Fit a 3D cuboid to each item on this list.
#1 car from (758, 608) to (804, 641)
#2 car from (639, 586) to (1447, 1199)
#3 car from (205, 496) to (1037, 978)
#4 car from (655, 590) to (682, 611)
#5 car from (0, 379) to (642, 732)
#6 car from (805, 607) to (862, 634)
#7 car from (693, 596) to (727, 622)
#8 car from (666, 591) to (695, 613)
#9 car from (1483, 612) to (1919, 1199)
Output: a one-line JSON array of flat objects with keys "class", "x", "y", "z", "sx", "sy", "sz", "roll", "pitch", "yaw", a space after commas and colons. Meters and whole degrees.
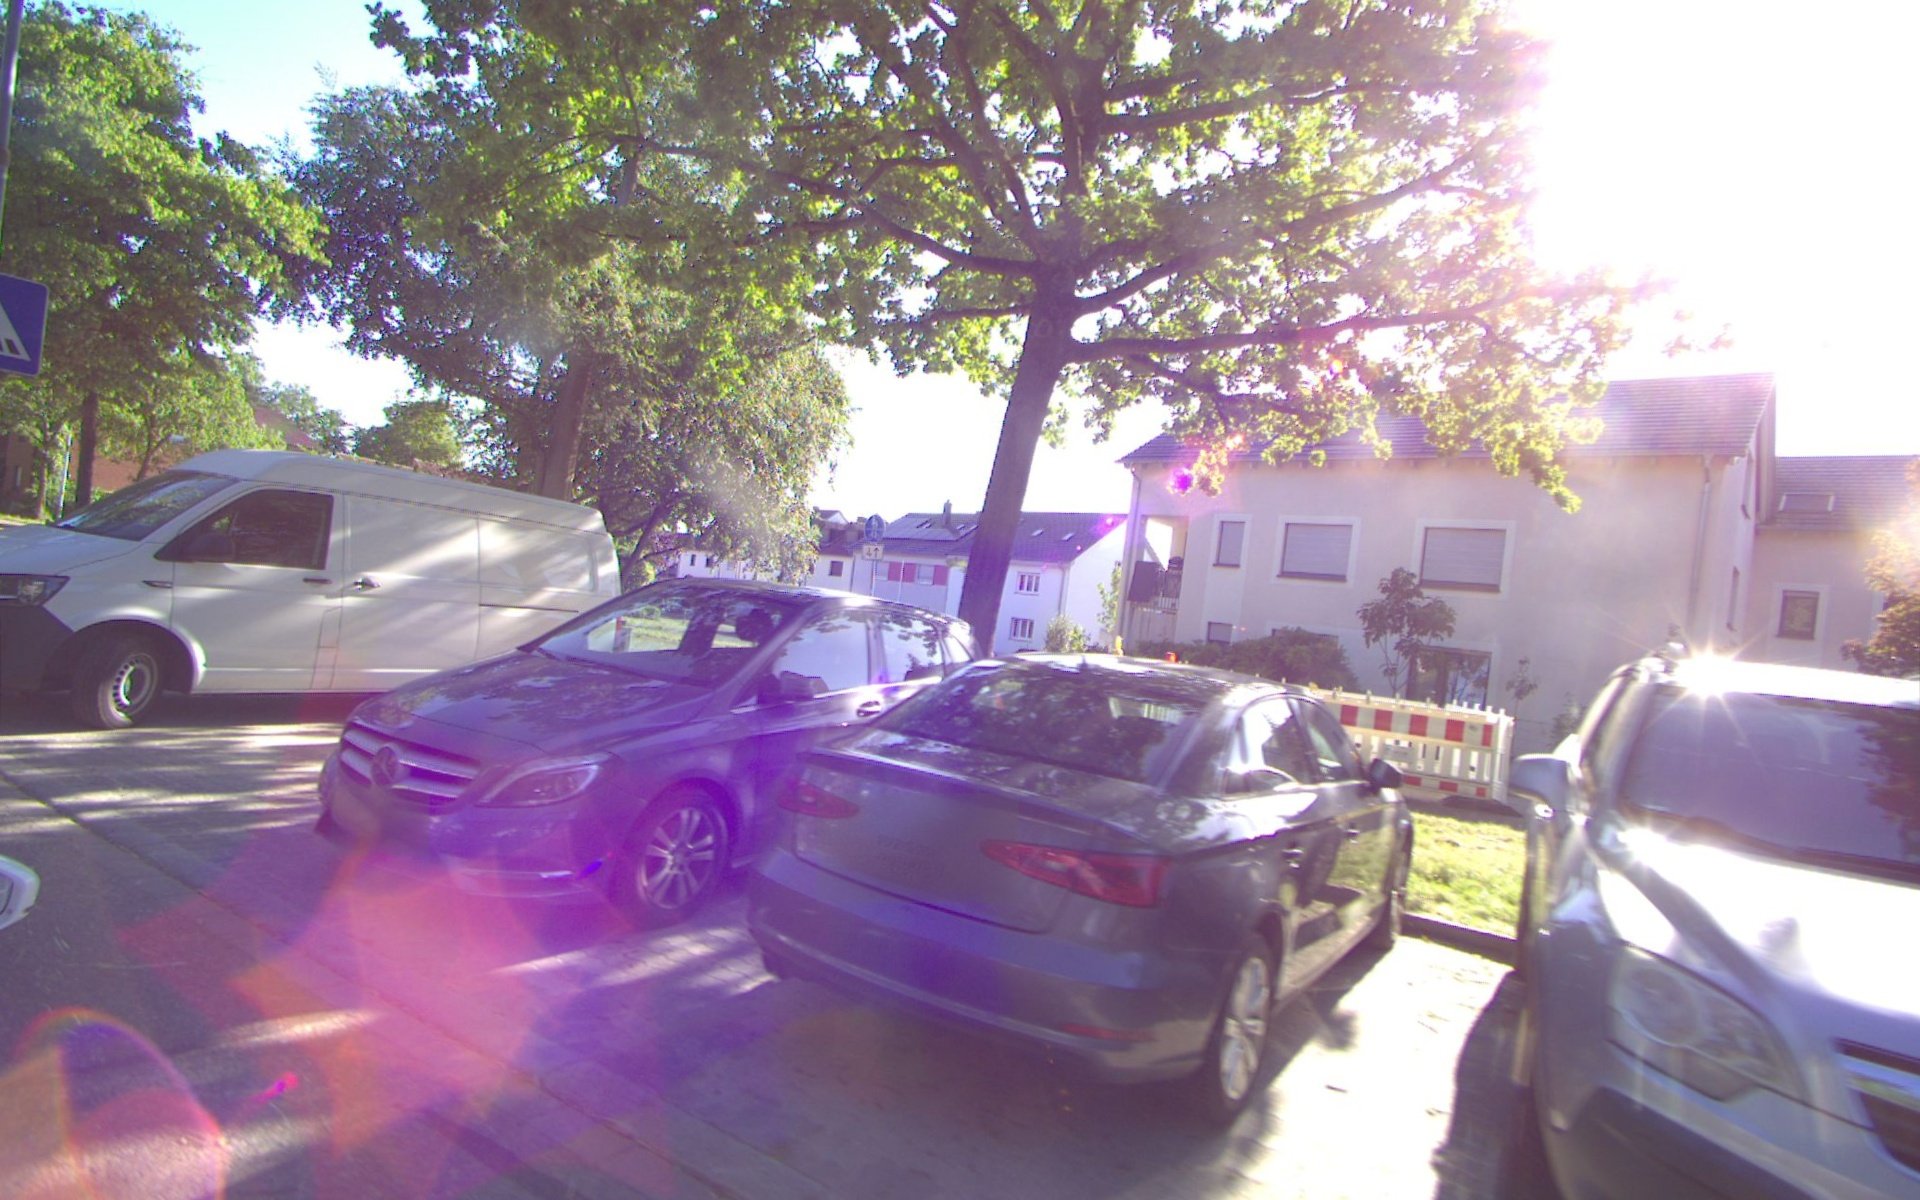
[{"class": "car", "x": -10.659, "y": 1.453, "z": 59.870, "sx": 1.716, "sy": 1.574, "sz": 3.447, "roll": 8, "pitch": -2, "yaw": -25}, {"class": "car", "x": 0.842, "y": 0.937, "z": 4.570, "sx": 1.870, "sy": 1.450, "sz": 3.992, "roll": 7, "pitch": -1, "yaw": 33}, {"class": "car", "x": -1.394, "y": 0.621, "z": 5.801, "sx": 1.901, "sy": 1.587, "sz": 4.222, "roll": 7, "pitch": -2, "yaw": 30}, {"class": "car", "x": -26.709, "y": 0.038, "z": 92.080, "sx": 1.716, "sy": 1.574, "sz": 3.447, "roll": 8, "pitch": -2, "yaw": -25}, {"class": "car", "x": -5.547, "y": -0.178, "z": 8.634, "sx": 2.047, "sy": 2.130, "sz": 5.196, "roll": 7, "pitch": -1, "yaw": 30}, {"class": "car", "x": -10.106, "y": 1.691, "z": 80.646, "sx": 3.977, "sy": 1.592, "sz": 1.976, "roll": 9, "pitch": -2, "yaw": -44}, {"class": "car", "x": -18.962, "y": 0.655, "z": 76.211, "sx": 1.716, "sy": 1.574, "sz": 3.447, "roll": 8, "pitch": -2, "yaw": -25}, {"class": "car", "x": -24.092, "y": 0.138, "z": 86.690, "sx": 1.716, "sy": 1.574, "sz": 3.447, "roll": 8, "pitch": -2, "yaw": -25}, {"class": "car", "x": 2.957, "y": 1.064, "z": 3.442, "sx": 1.819, "sy": 1.672, "sz": 4.389, "roll": 7, "pitch": 1, "yaw": 30}]
